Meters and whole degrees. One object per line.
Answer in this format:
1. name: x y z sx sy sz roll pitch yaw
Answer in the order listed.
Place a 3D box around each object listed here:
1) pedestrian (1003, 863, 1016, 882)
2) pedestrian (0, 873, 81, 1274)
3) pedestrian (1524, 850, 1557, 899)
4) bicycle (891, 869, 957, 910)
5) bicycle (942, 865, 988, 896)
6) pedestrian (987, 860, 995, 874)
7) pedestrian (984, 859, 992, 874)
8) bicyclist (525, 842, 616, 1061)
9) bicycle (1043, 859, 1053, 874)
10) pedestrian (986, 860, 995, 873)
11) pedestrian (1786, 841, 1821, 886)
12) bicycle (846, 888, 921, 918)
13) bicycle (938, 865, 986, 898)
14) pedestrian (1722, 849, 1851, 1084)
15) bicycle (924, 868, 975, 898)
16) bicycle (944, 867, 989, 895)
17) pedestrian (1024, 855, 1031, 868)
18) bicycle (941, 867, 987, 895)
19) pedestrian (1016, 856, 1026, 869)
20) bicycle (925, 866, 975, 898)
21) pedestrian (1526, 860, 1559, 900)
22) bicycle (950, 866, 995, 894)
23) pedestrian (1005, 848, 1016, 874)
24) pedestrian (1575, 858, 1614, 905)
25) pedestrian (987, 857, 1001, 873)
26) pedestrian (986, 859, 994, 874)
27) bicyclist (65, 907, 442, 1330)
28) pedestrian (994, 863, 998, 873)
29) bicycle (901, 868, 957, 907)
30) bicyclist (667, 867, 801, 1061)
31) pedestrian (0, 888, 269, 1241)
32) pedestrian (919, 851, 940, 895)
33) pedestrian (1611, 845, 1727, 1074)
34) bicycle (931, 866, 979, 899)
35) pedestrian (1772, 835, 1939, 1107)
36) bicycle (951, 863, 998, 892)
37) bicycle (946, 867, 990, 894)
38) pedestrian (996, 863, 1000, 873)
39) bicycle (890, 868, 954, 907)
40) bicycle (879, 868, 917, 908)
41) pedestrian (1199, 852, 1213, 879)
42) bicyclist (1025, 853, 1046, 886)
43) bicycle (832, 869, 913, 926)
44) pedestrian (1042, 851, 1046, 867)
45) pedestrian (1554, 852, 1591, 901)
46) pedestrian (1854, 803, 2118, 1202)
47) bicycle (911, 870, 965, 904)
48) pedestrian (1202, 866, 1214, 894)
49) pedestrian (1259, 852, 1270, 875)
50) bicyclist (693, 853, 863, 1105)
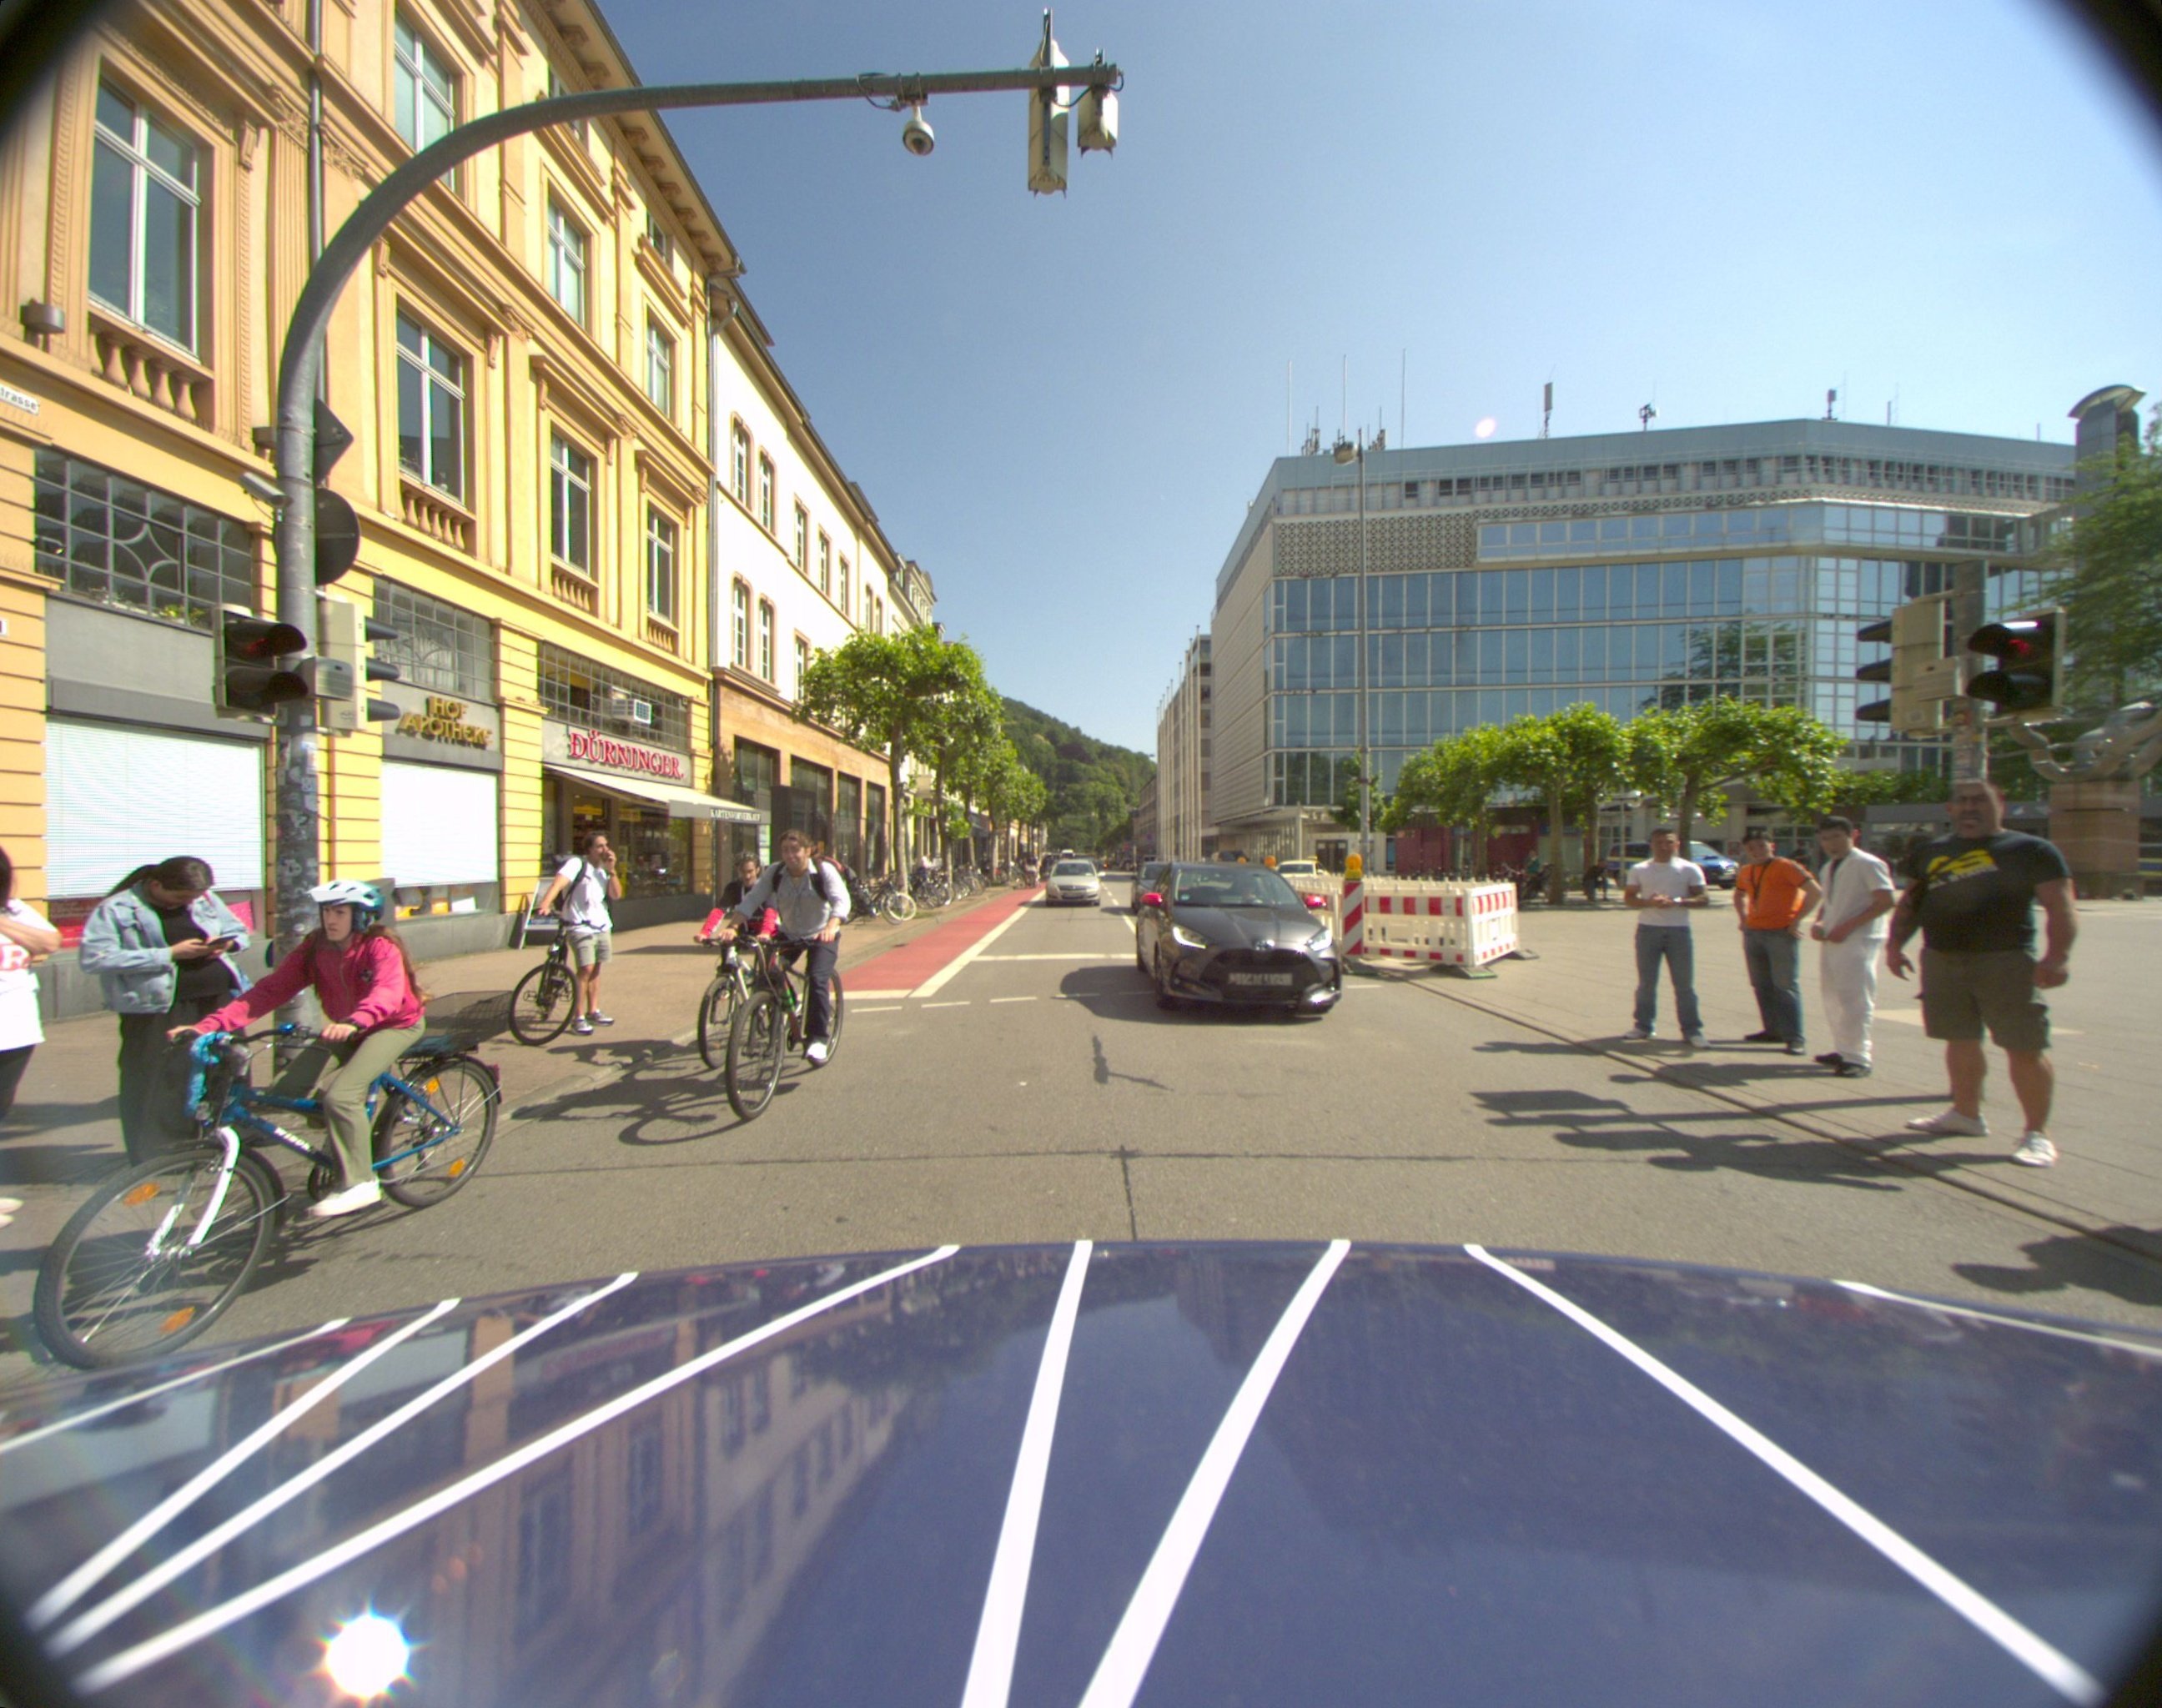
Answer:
1. pedestrian: -4.868 1.251 51.857 0.789 1.236 0.576 -1 2 -2
2. pedestrian: -4.675 0.900 3.045 0.550 1.621 0.589 1 1 4
3. pedestrian: 15.729 0.694 26.041 0.673 1.667 0.687 -1 0 -8
4. bicycle: -4.659 1.049 22.597 1.848 1.194 0.545 0 0 3
5. bicycle: -4.540 1.041 29.762 1.732 1.210 0.477 0 0 3
6. pedestrian: -8.374 1.179 70.896 0.641 1.246 0.608 2 1 -2
7. pedestrian: -8.425 1.138 69.156 0.683 1.325 0.532 0 0 -2
8. bicyclist: -4.495 0.796 6.700 0.576 1.787 0.854 2 0 -34
9. bicycle: -2.529 0.937 58.763 0.607 1.120 1.860 2 -1 2
10. pedestrian: -8.365 1.157 70.298 0.683 1.246 0.532 1 0 -2
11. pedestrian: 28.318 0.364 29.793 0.803 1.739 0.606 -2 1 -5
12. bicycle: -5.246 1.299 20.185 1.852 0.711 0.658 0 0 -20
13. bicycle: -4.539 1.051 29.037 1.732 1.210 0.477 0 0 3
14. pedestrian: 5.520 0.828 5.954 0.542 1.708 0.605 -2 1 -30
15. bicycle: -4.765 1.046 27.552 1.732 1.088 0.607 0 0 3
16. bicycle: -4.582 1.088 30.543 1.732 1.102 0.402 0 0 3
17. pedestrian: -7.867 1.087 112.060 0.840 1.781 0.767 1 1 1
18. bicycle: -4.621 1.063 30.124 1.732 1.102 0.477 0 0 3
19. pedestrian: -7.635 1.055 96.902 0.904 1.603 0.974 0 3 -28
20. bicycle: -4.844 1.018 28.063 1.732 1.155 0.477 0 0 3
21. pedestrian: 15.551 0.864 25.605 0.673 1.301 0.686 -1 0 -17
22. bicycle: -4.544 1.082 31.809 1.732 1.102 0.736 0 0 3
23. pedestrian: -4.649 0.444 50.161 0.641 1.679 0.843 -2 0 -2
24. pedestrian: 15.665 0.830 23.195 0.672 1.373 0.898 -1 0 9
25. pedestrian: -8.469 1.058 73.938 1.255 1.475 0.837 0 1 -2
26. pedestrian: -8.340 1.131 69.753 0.683 1.330 0.532 0 0 -2
27. bicyclist: -3.039 0.905 2.876 0.601 1.350 0.721 0 1 0
28. pedestrian: -7.841 1.313 70.108 0.342 0.962 0.437 0 0 2
29. bicycle: -4.758 1.050 23.817 1.653 1.194 0.474 0 0 3
30. bicyclist: -2.764 0.834 6.139 0.700 1.432 0.790 -2 1 -3
31. pedestrian: -4.533 0.944 3.671 0.524 1.512 0.641 1 1 4
32. pedestrian: -5.666 0.696 28.409 0.616 1.603 0.745 0 0 1
33. pedestrian: 4.716 0.800 6.106 0.431 1.730 0.605 -2 1 -30
34. bicycle: -4.729 1.057 28.548 1.732 1.210 0.477 0 0 3
35. pedestrian: 5.318 0.765 5.253 0.540 1.769 0.606 -1 1 6
36. bicycle: -4.666 1.038 33.292 1.936 1.241 0.736 0 0 3
37. bicycle: -4.603 1.072 30.957 1.732 1.102 0.402 0 0 3
38. pedestrian: -7.734 1.328 70.774 0.365 0.962 0.437 0 0 2
39. bicycle: -4.890 1.024 23.404 1.848 1.194 0.474 0 0 3
40. bicycle: -5.761 1.064 24.022 0.473 1.181 1.656 0 0 12
41. pedestrian: 8.276 0.744 50.309 0.618 1.782 0.695 0 0 40
42. bicyclist: -2.331 0.798 38.762 0.731 1.664 0.776 1 1 27
43. bicycle: -5.015 1.023 18.278 1.828 1.301 0.688 -1 0 -20
44. pedestrian: -4.112 0.598 84.458 0.453 1.784 0.608 -1 0 -2
45. pedestrian: 16.411 0.743 25.367 0.806 1.596 0.672 -1 0 -13
46. pedestrian: 4.606 0.705 3.913 0.577 1.880 0.653 -1 1 2
47. bicycle: -4.750 1.106 25.340 1.653 1.088 0.607 0 0 3
48. pedestrian: 8.237 1.664 49.366 0.531 1.782 0.540 0 0 40
49. pedestrian: 12.564 0.656 52.126 0.581 1.608 0.543 1 1 -1
50. bicyclist: -1.887 0.720 4.878 0.700 1.437 0.960 -2 0 -3
